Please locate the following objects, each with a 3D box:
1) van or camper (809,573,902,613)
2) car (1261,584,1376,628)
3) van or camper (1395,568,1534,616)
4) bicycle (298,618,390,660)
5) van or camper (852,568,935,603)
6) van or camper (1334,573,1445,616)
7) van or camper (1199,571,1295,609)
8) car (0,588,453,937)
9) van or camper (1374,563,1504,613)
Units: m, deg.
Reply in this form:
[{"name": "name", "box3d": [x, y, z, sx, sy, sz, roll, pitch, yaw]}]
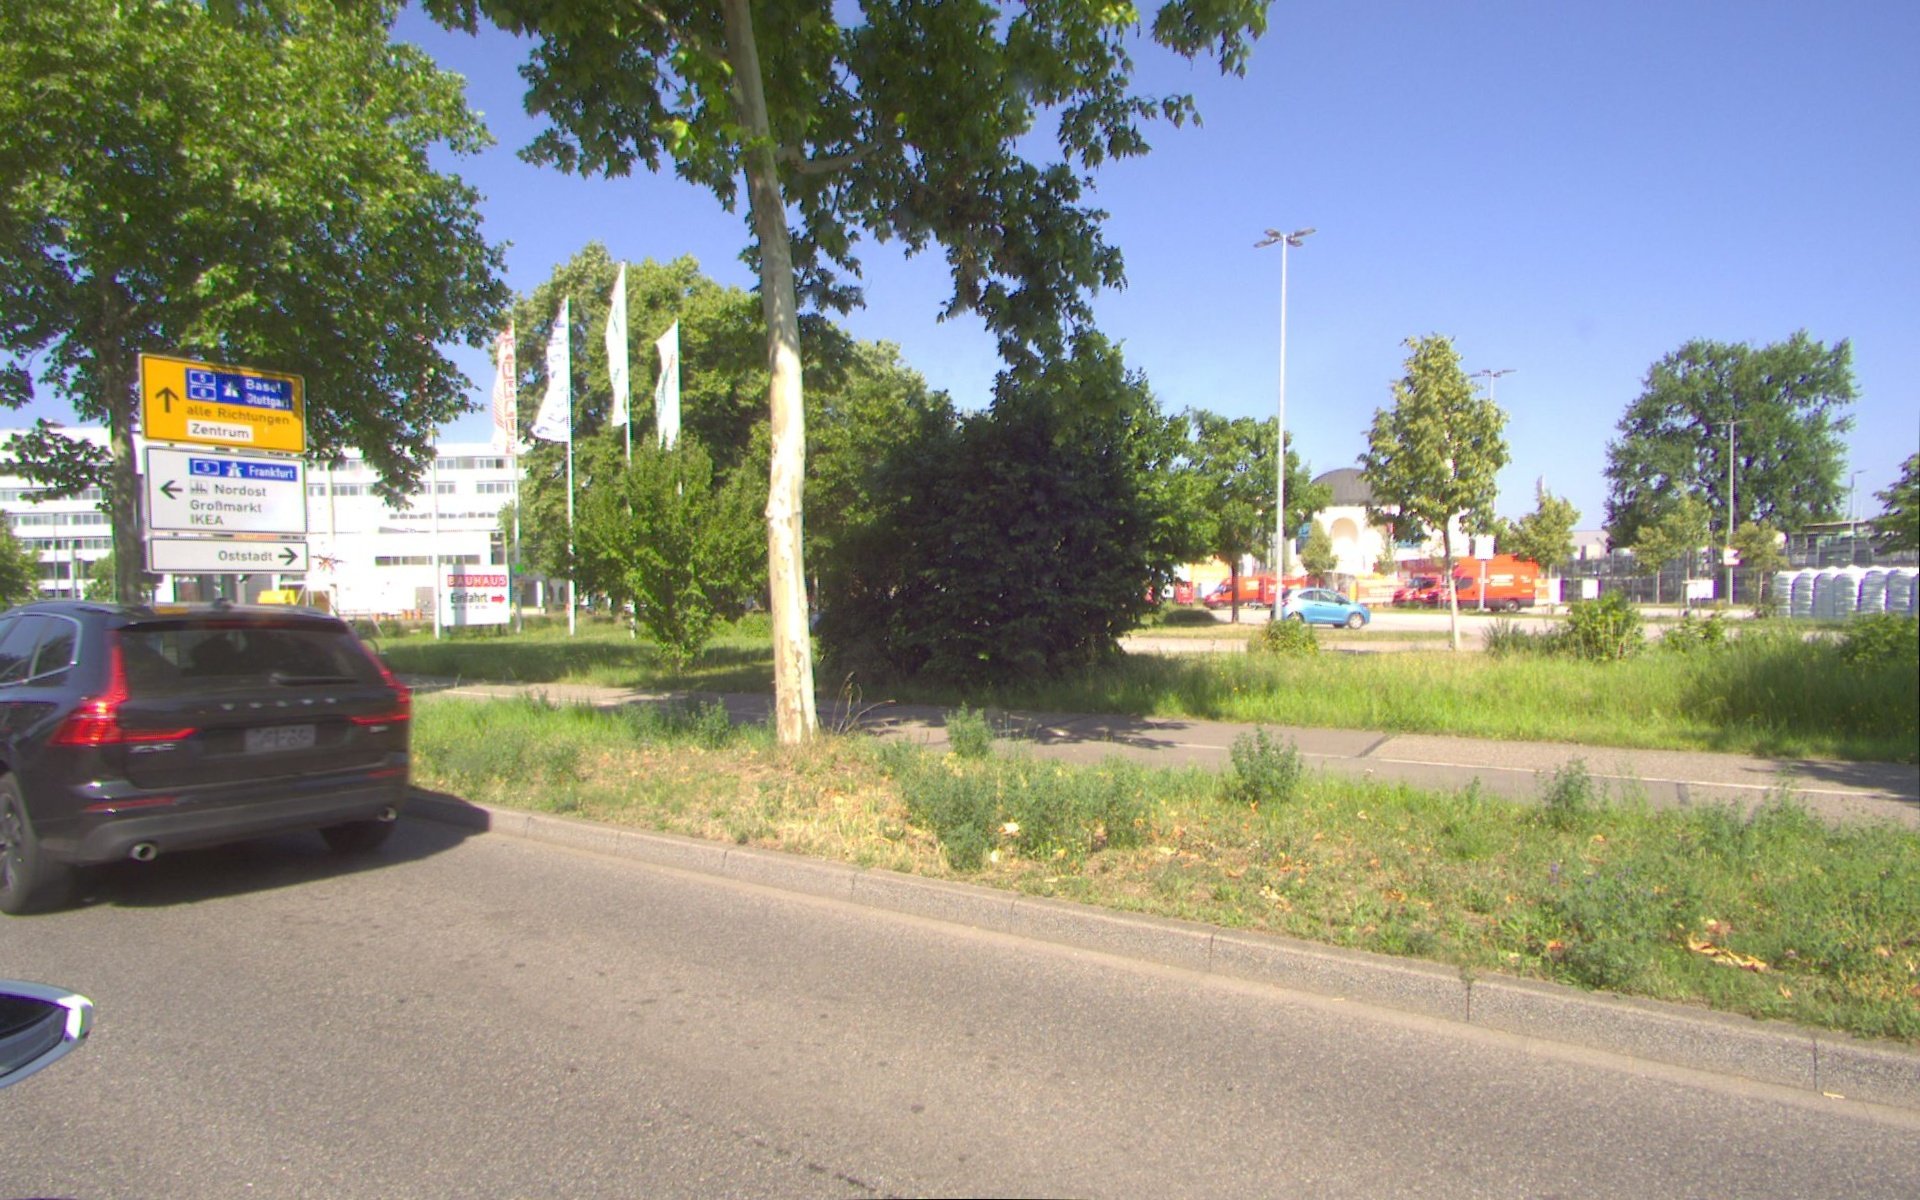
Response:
[{"name": "van or camper", "box3d": [-8.109, -0.533, 78.350, 7.145, 2.979, 2.001, 0, -1, -2]}, {"name": "car", "box3d": [13.207, 0.244, 37.033, 3.580, 1.561, 1.753, 0, -2, -3]}, {"name": "van or camper", "box3d": [29.446, -0.457, 58.520, 7.145, 2.739, 2.001, 0, -1, -2]}, {"name": "bicycle", "box3d": [-16.352, 1.019, 26.606, 1.985, 1.027, 0.615, -1, 1, -41]}, {"name": "van or camper", "box3d": [-5.760, -1.256, 87.463, 7.145, 2.979, 2.001, 0, -1, -2]}, {"name": "van or camper", "box3d": [30.709, -0.370, 71.754, 7.145, 2.979, 2.001, 0, -1, -2]}, {"name": "van or camper", "box3d": [22.988, -0.761, 80.316, 7.145, 2.979, 2.001, 0, -1, -2]}, {"name": "car", "box3d": [-5.484, 0.822, 6.597, 4.371, 1.611, 1.872, -1, -2, 32]}, {"name": "van or camper", "box3d": [29.723, -0.710, 62.269, 7.145, 2.979, 2.001, 0, -1, -2]}]
